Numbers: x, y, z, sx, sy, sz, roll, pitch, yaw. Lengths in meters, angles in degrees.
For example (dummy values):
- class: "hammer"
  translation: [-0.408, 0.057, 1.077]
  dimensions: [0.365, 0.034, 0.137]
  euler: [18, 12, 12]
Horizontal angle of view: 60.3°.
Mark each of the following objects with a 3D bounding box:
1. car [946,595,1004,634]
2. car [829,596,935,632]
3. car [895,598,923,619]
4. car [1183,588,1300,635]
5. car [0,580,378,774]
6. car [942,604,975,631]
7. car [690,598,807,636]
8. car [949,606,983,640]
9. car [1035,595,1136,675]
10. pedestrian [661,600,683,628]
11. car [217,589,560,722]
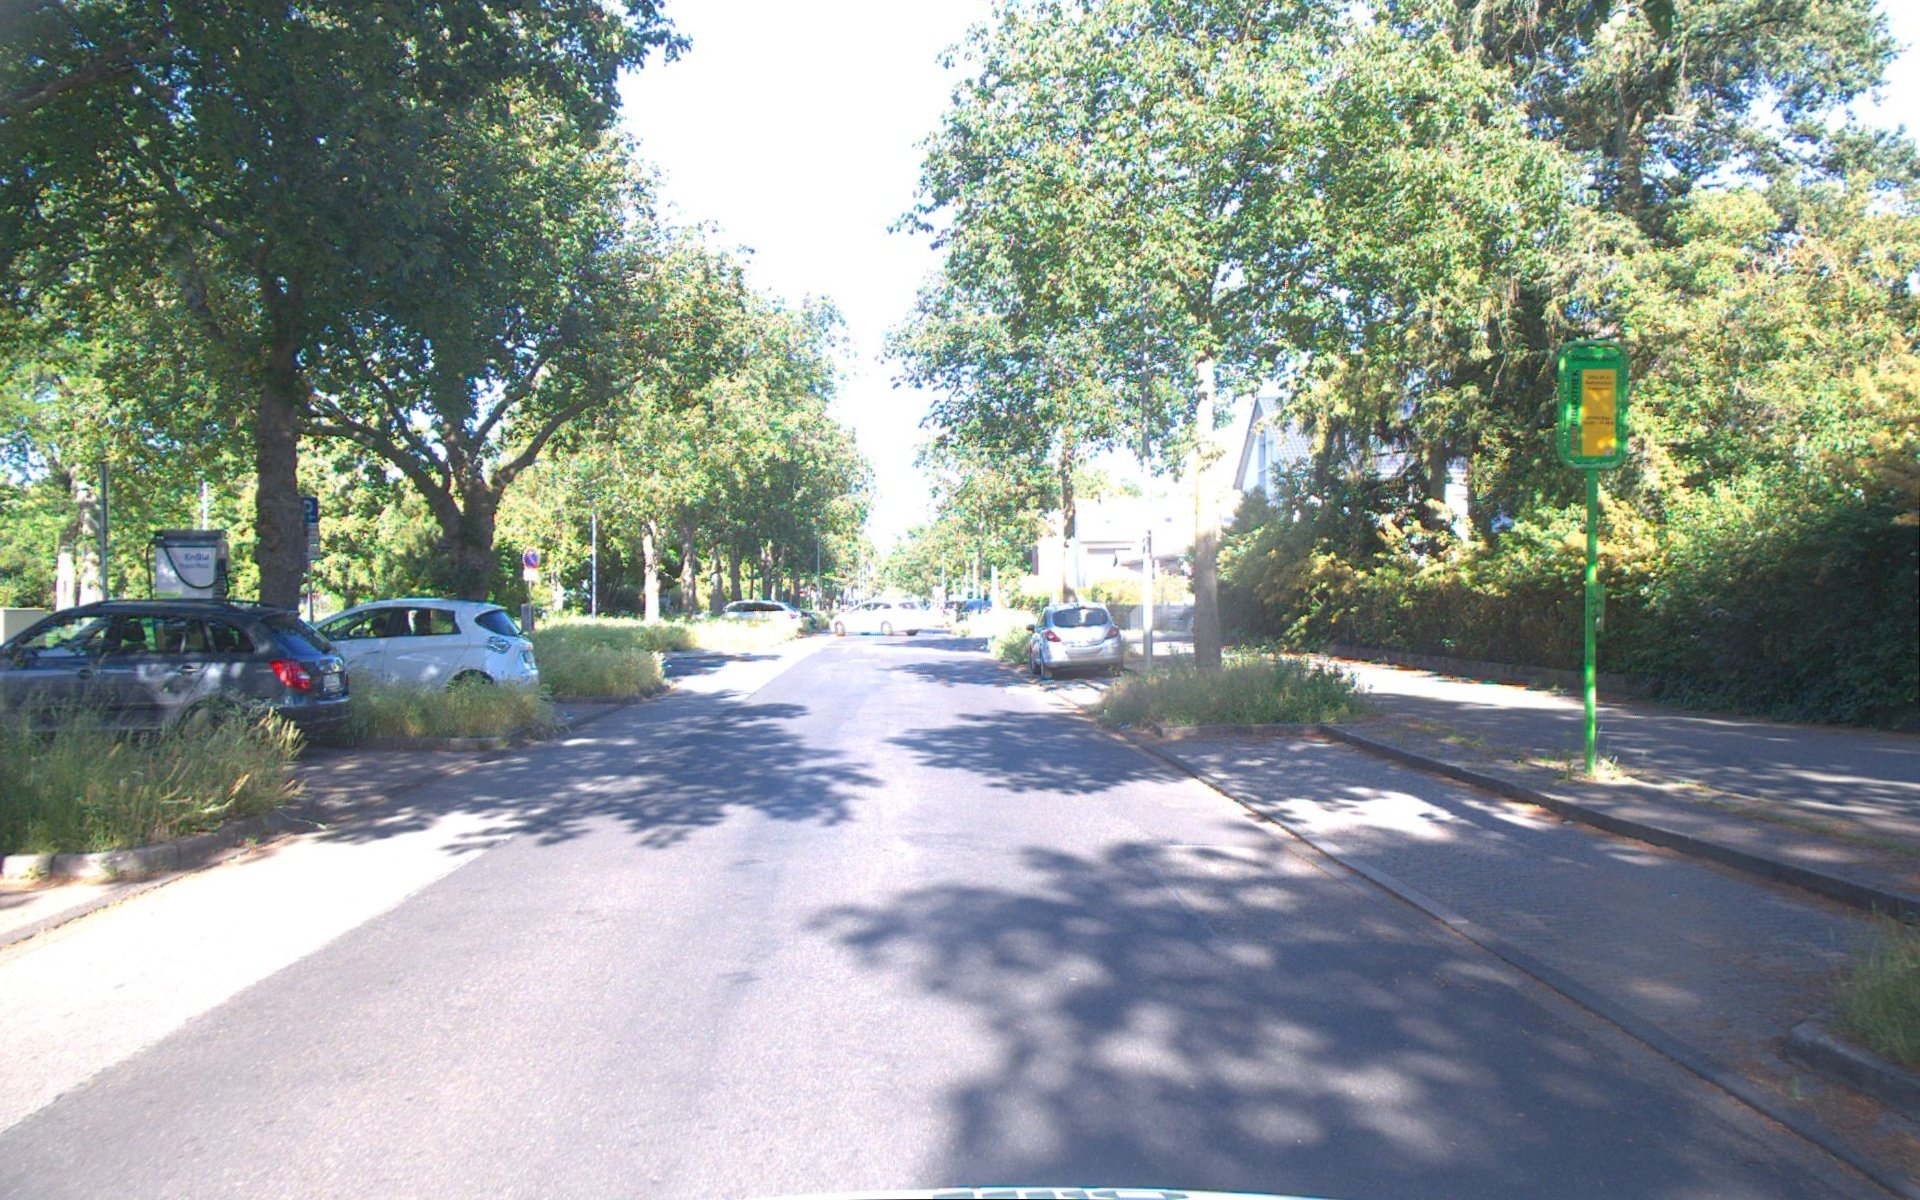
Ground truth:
- class: "car"
  translation: [0.636, 0.643, 74.911]
  dimensions: [1.956, 1.650, 4.373]
  euler: [3, -1, -8]
- class: "car"
  translation: [-3.278, 0.570, 69.433]
  dimensions: [4.141, 1.480, 1.992]
  euler: [0, 0, 37]
- class: "car"
  translation: [-3.973, 0.671, 128.476]
  dimensions: [1.954, 1.534, 3.656]
  euler: [3, -1, -3]
- class: "car"
  translation: [10.426, 0.418, 61.399]
  dimensions: [3.913, 1.668, 1.773]
  euler: [0, 0, -9]
- class: "car"
  translation: [-7.959, 0.688, 15.993]
  dimensions: [3.908, 1.617, 1.999]
  euler: [3, -1, -4]
- class: "car"
  translation: [-0.112, 1.209, 113.669]
  dimensions: [1.954, 1.758, 3.996]
  euler: [-2, -1, -5]
- class: "car"
  translation: [-8.690, 0.686, 68.280]
  dimensions: [4.576, 1.530, 2.000]
  euler: [0, 0, -1]
- class: "car"
  translation: [0.299, 1.182, 86.321]
  dimensions: [1.578, 1.650, 4.380]
  euler: [3, -1, -2]
- class: "car"
  translation: [2.629, 0.717, 34.577]
  dimensions: [1.951, 1.537, 4.002]
  euler: [-1, -1, 5]
- class: "pedestrian"
  translation: [-19.414, 0.946, 111.333]
  dimensions: [1.206, 1.859, 1.542]
  euler: [2, -1, -19]
- class: "car"
  translation: [-7.503, 0.704, 22.038]
  dimensions: [3.908, 1.690, 1.965]
  euler: [0, 0, -4]
